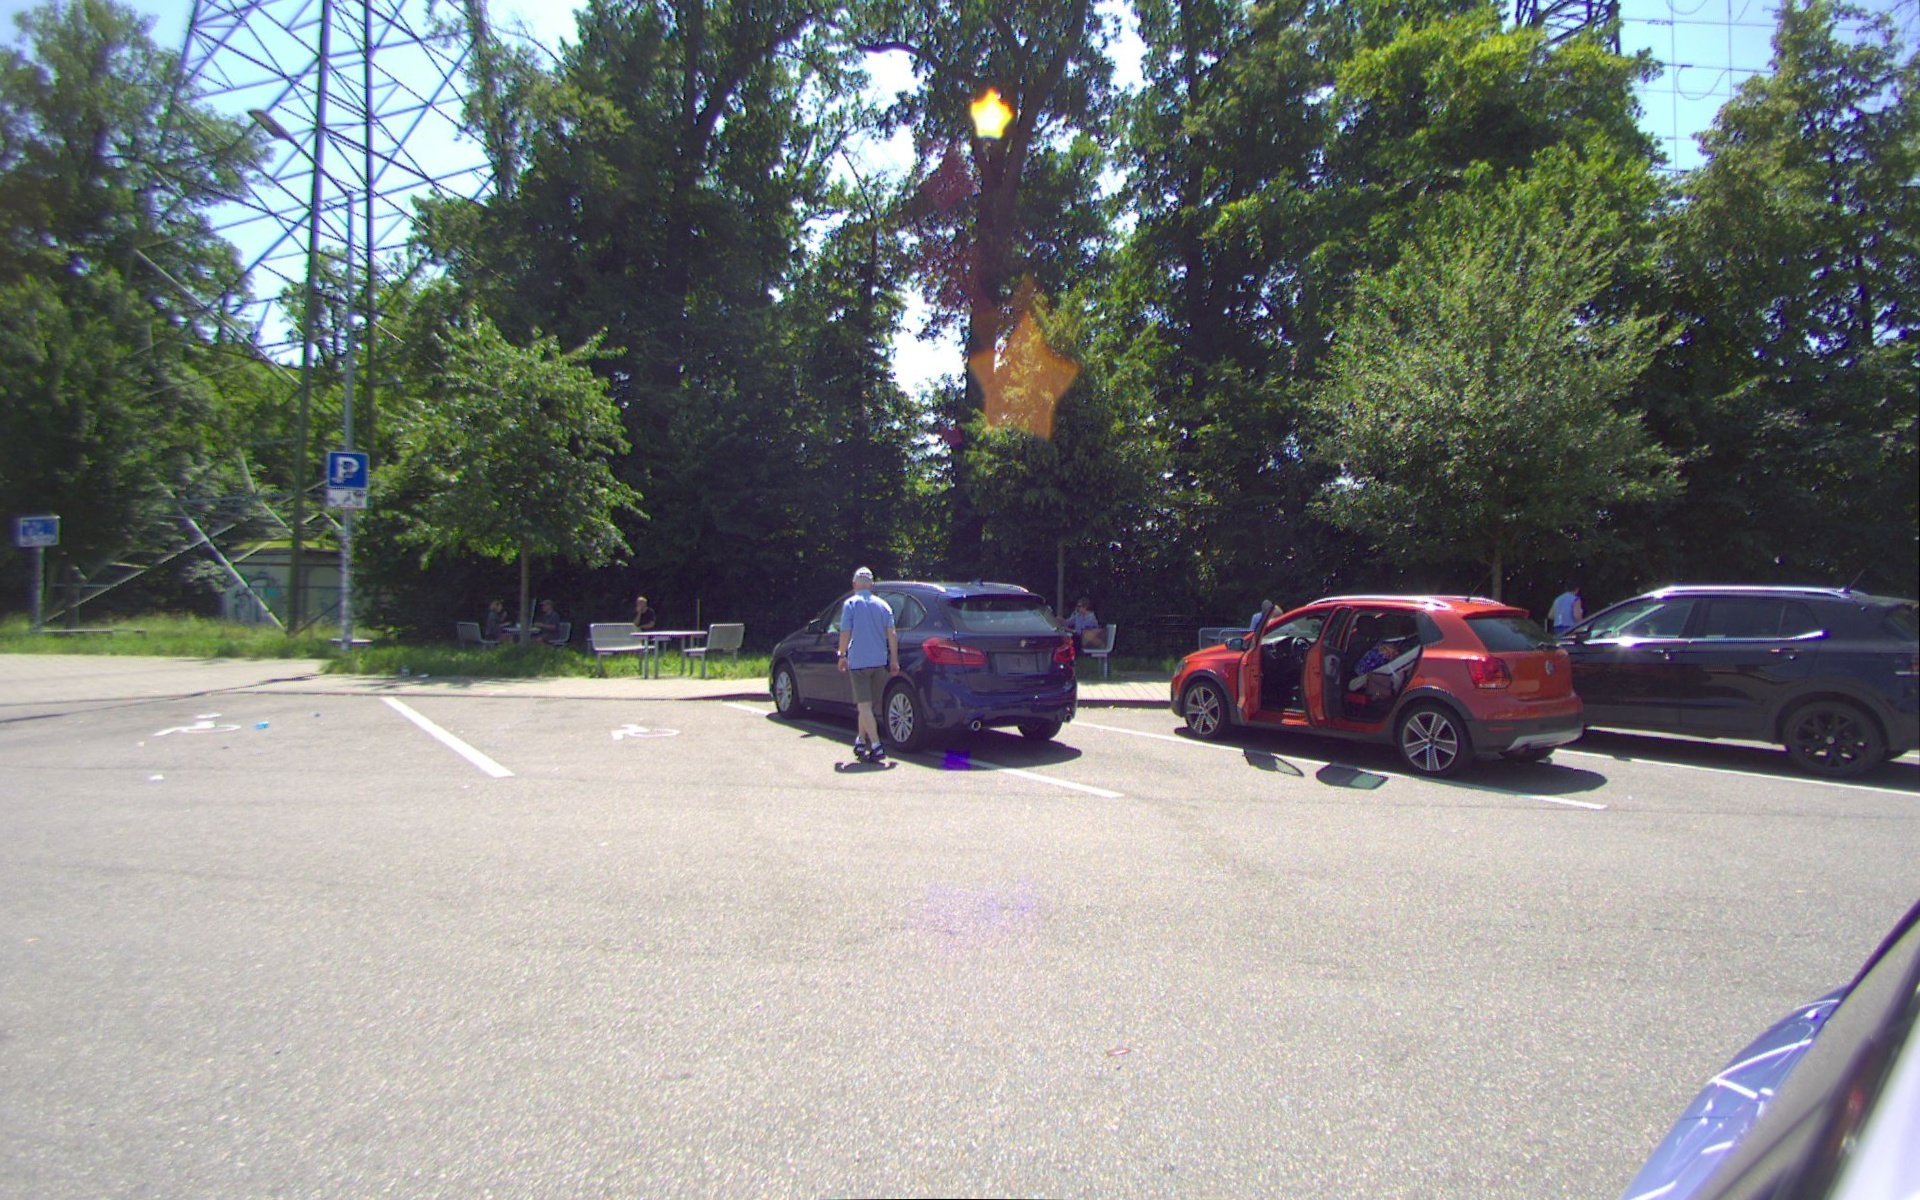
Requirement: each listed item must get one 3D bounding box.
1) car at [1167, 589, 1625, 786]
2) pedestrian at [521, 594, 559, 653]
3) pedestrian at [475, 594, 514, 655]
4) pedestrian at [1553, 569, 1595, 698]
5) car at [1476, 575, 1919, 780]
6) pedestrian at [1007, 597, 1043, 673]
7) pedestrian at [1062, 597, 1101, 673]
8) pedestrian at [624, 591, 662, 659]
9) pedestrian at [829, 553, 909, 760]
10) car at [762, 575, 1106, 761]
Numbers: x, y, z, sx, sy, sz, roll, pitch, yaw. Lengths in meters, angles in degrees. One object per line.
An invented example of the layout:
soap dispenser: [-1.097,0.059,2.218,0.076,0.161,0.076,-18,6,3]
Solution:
car: [3.872,0.642,9.577,1.559,1.467,3.737,1,0,-33]
pedestrian: [-9.741,0.535,23.464,0.687,1.352,0.563,0,0,-40]
pedestrian: [-10.498,0.546,22.826,0.687,1.352,0.563,0,0,-40]
pedestrian: [9.086,0.480,14.987,0.516,1.854,0.757,0,0,31]
car: [7.238,0.594,9.692,1.707,1.607,3.732,1,0,-39]
pedestrian: [1.087,0.580,17.066,0.576,1.251,0.697,0,-1,1]
pedestrian: [2.035,0.576,17.000,0.576,1.251,0.697,0,-1,1]
pedestrian: [-6.669,0.513,21.303,0.553,1.408,0.700,0,0,2]
pedestrian: [-0.811,0.476,8.992,0.662,1.754,0.834,0,0,-6]
car: [-0.465,0.553,10.651,1.776,1.562,3.940,1,0,-34]
